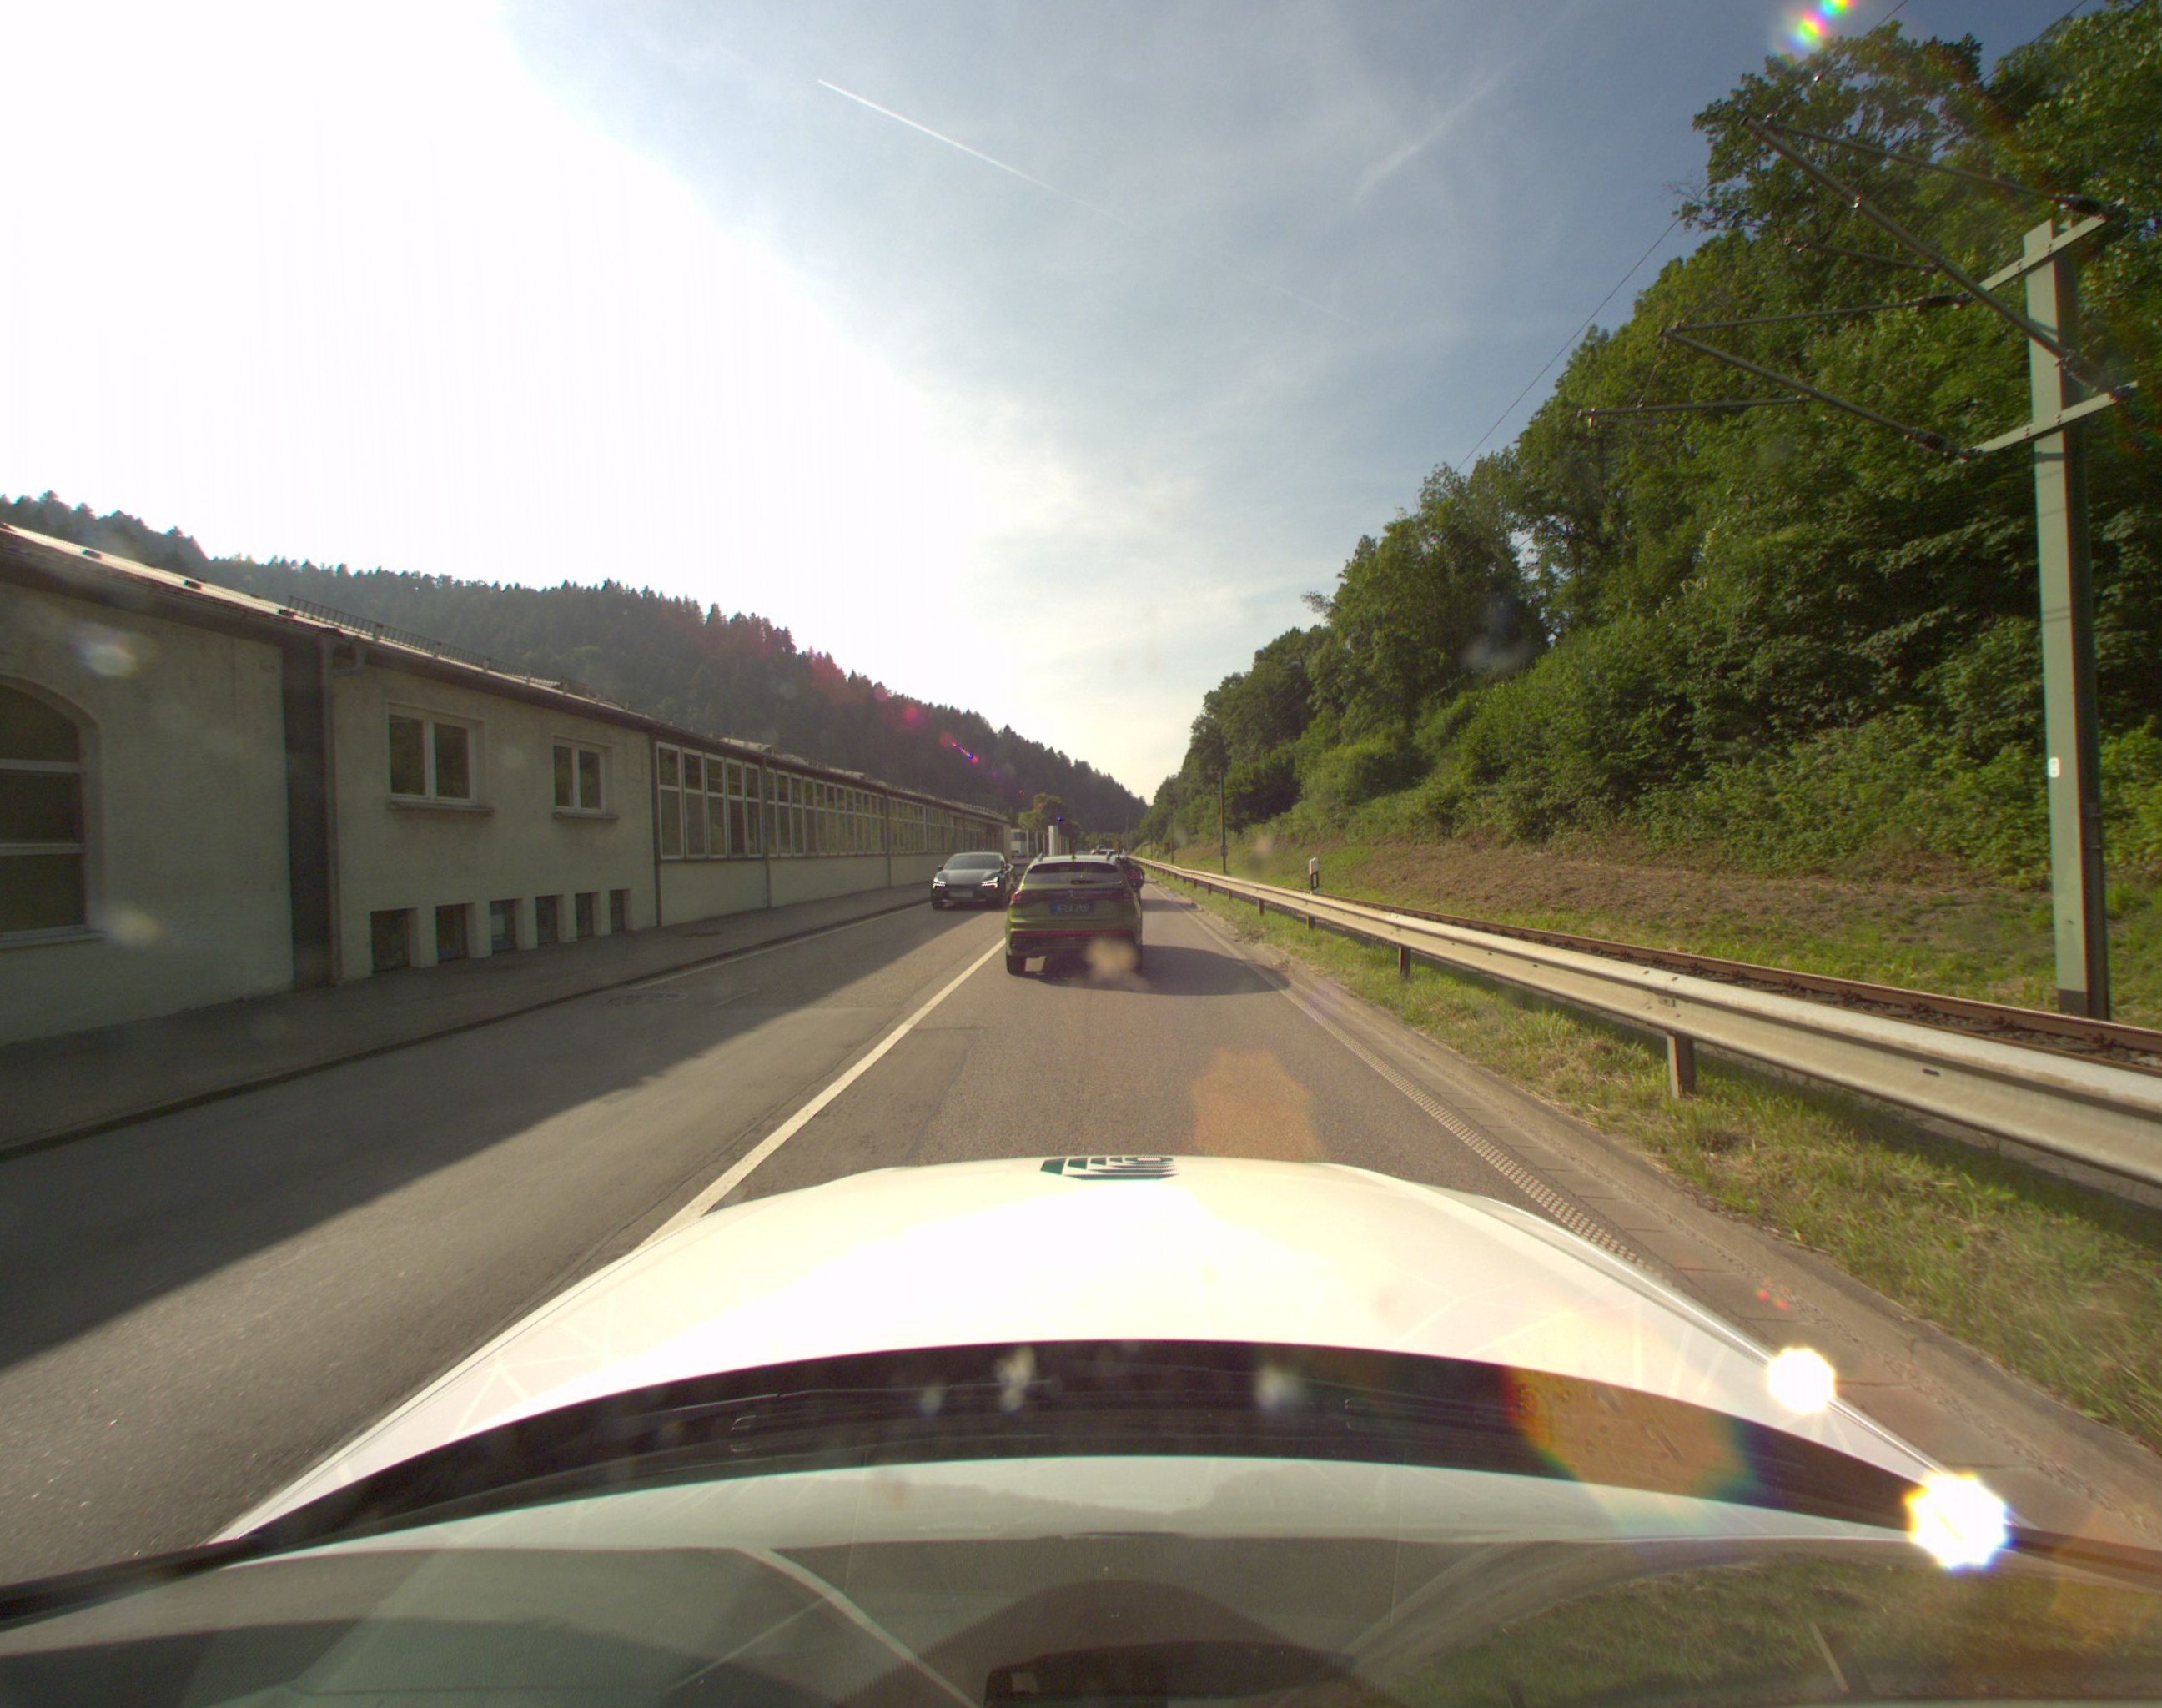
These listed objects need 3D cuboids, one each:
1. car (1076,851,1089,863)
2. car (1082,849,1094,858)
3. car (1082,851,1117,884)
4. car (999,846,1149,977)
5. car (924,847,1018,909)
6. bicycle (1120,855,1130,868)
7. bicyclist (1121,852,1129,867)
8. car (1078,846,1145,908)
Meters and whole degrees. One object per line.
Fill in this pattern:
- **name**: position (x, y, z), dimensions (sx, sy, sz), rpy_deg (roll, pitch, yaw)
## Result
- **car**: position (0.197, 0.411, 113.747), dimensions (1.713, 1.514, 4.200), rpy_deg (1, 0, 2)
- **car**: position (1.140, -0.119, 132.688), dimensions (1.767, 1.490, 4.053), rpy_deg (1, 0, 2)
- **car**: position (0.940, 0.647, 41.675), dimensions (1.733, 1.602, 4.000), rpy_deg (0, 0, 1)
- **car**: position (-0.048, 0.670, 11.440), dimensions (1.733, 1.508, 4.000), rpy_deg (0, 0, 1)
- **car**: position (-3.050, 0.633, 23.523), dimensions (1.922, 1.581, 4.460), rpy_deg (1, 0, 2)
- **bicycle**: position (4.249, 0.708, 78.746), dimensions (0.809, 1.250, 2.122), rpy_deg (-1, 0, 0)
- **bicyclist**: position (4.254, 0.552, 78.594), dimensions (0.779, 1.412, 0.675), rpy_deg (-1, 0, -1)
- **car**: position (0.827, 0.604, 23.192), dimensions (1.733, 1.602, 4.000), rpy_deg (0, 0, 1)
